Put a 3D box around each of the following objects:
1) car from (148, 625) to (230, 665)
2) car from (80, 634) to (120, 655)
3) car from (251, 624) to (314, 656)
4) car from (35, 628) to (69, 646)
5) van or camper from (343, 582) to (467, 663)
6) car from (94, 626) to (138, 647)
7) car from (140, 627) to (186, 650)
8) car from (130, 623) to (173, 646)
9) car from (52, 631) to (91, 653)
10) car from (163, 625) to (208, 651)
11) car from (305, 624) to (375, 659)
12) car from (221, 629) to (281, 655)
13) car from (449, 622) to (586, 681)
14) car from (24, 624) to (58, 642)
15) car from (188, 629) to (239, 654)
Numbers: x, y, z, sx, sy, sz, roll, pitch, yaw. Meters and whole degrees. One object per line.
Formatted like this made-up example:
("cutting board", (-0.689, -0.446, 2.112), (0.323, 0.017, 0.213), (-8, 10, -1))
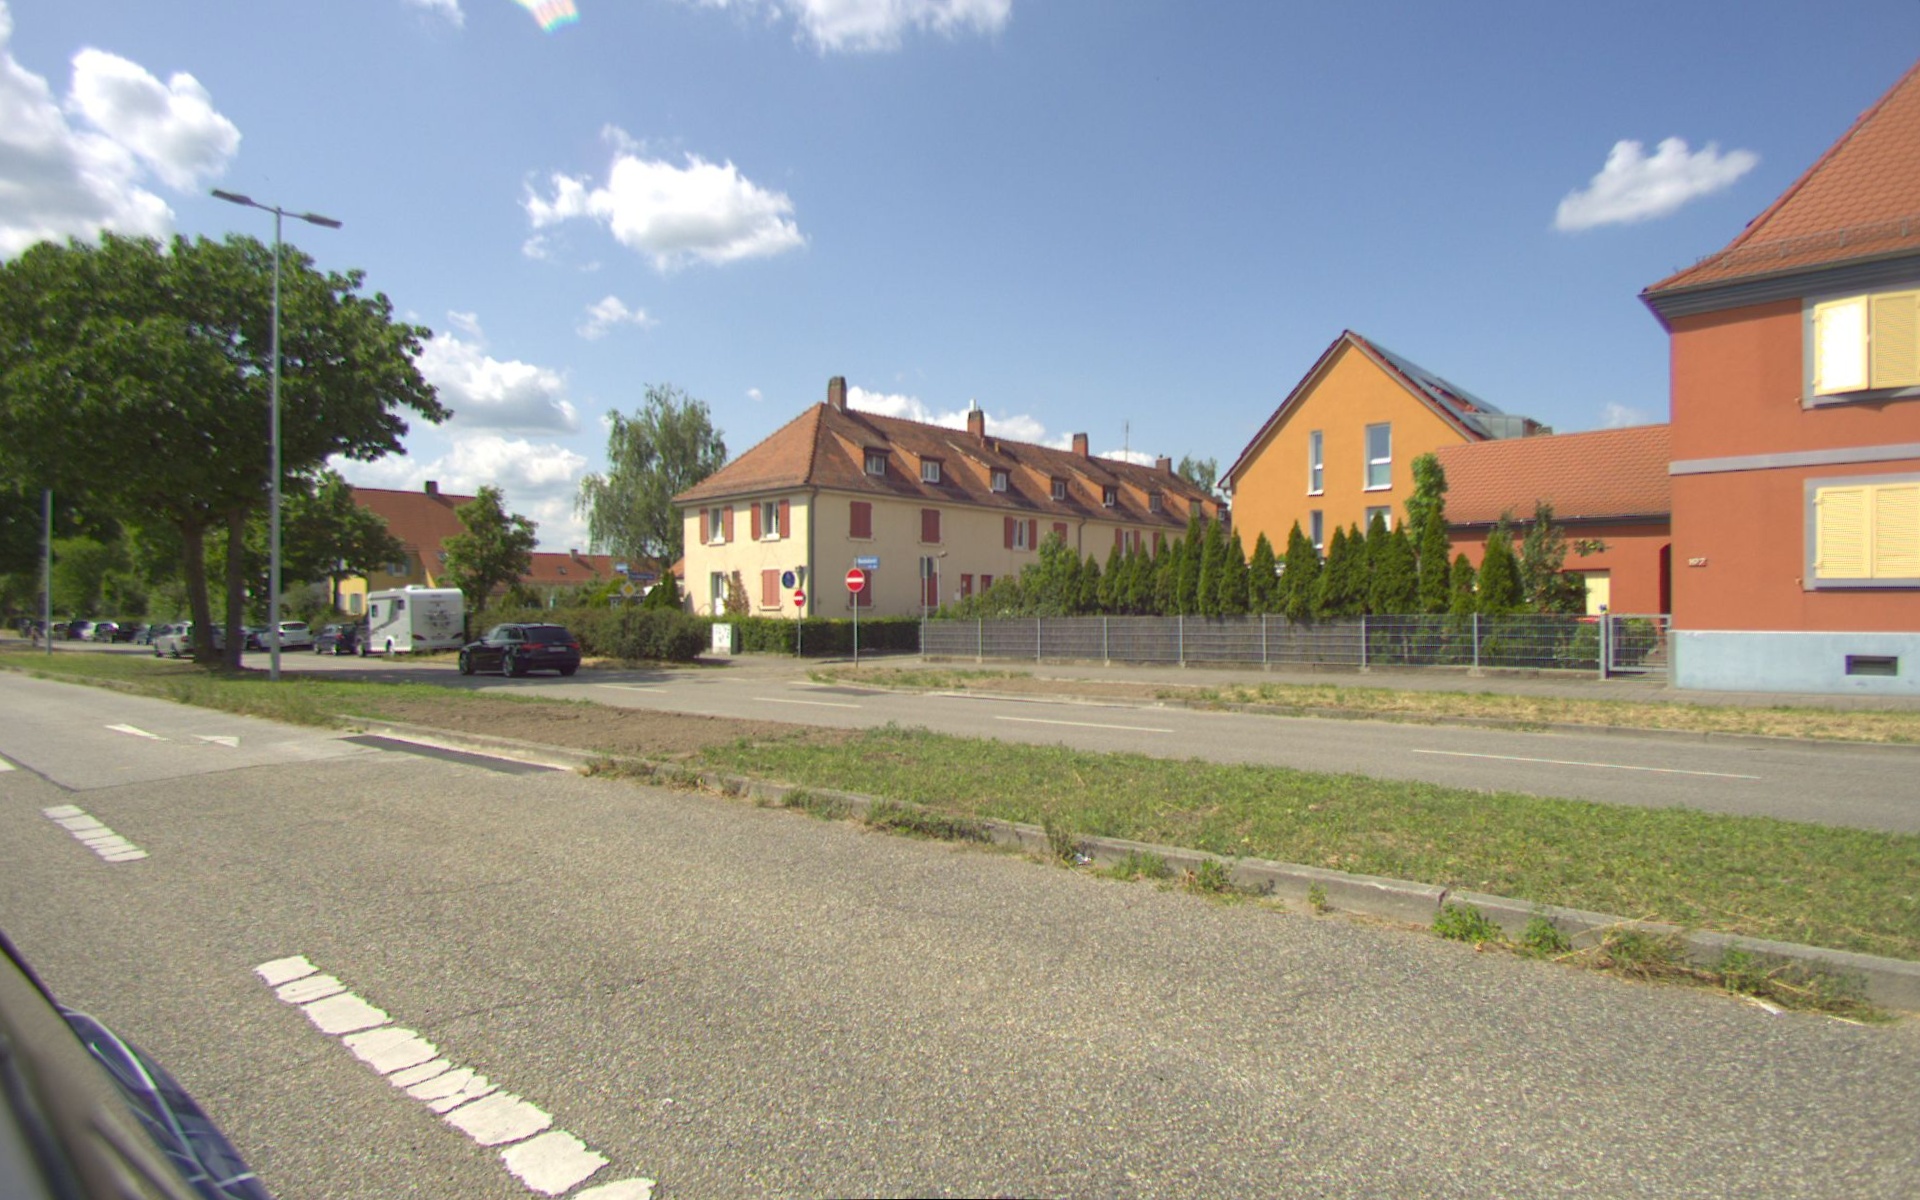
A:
("car", (-32.847, 1.898, 43.063), (4.649, 1.519, 1.715), (0, -4, 40))
("car", (-68.123, 3.508, 80.133), (3.841, 1.462, 1.645), (0, 1, 38))
("car", (-35.661, 2.089, 53.203), (4.121, 1.496, 1.672), (0, 1, 41))
("car", (-79.044, 3.194, 88.049), (3.530, 1.472, 1.579), (0, 1, 38))
("van or camper", (-23.793, 0.968, 43.215), (7.317, 3.135, 2.235), (-2, 0, 42))
("car", (-62.845, 2.711, 75.330), (4.097, 1.492, 1.645), (-2, 1, 38))
("car", (-52.619, 2.500, 66.802), (4.351, 1.405, 1.389), (-1, 1, 39))
("car", (-56.070, 2.373, 70.161), (3.473, 1.405, 1.547), (0, 1, 39))
("car", (-74.277, 3.519, 84.603), (4.308, 1.624, 1.645), (0, 1, 38))
("car", (-49.202, 2.403, 64.292), (3.737, 1.569, 1.389), (-1, 1, 39))
("car", (-29.208, 1.923, 47.621), (3.990, 1.496, 1.620), (0, 1, 41))
("car", (-39.553, 2.340, 56.412), (4.581, 1.316, 1.620), (-2, 1, 41))
("car", (-12.187, 1.350, 27.724), (4.576, 1.449, 1.752), (-1, -2, 43))
("car", (-87.130, 3.103, 95.932), (3.994, 1.563, 1.751), (0, 1, 38))
("car", (-44.703, 2.458, 60.572), (4.528, 1.380, 1.495), (-1, 1, 41))
